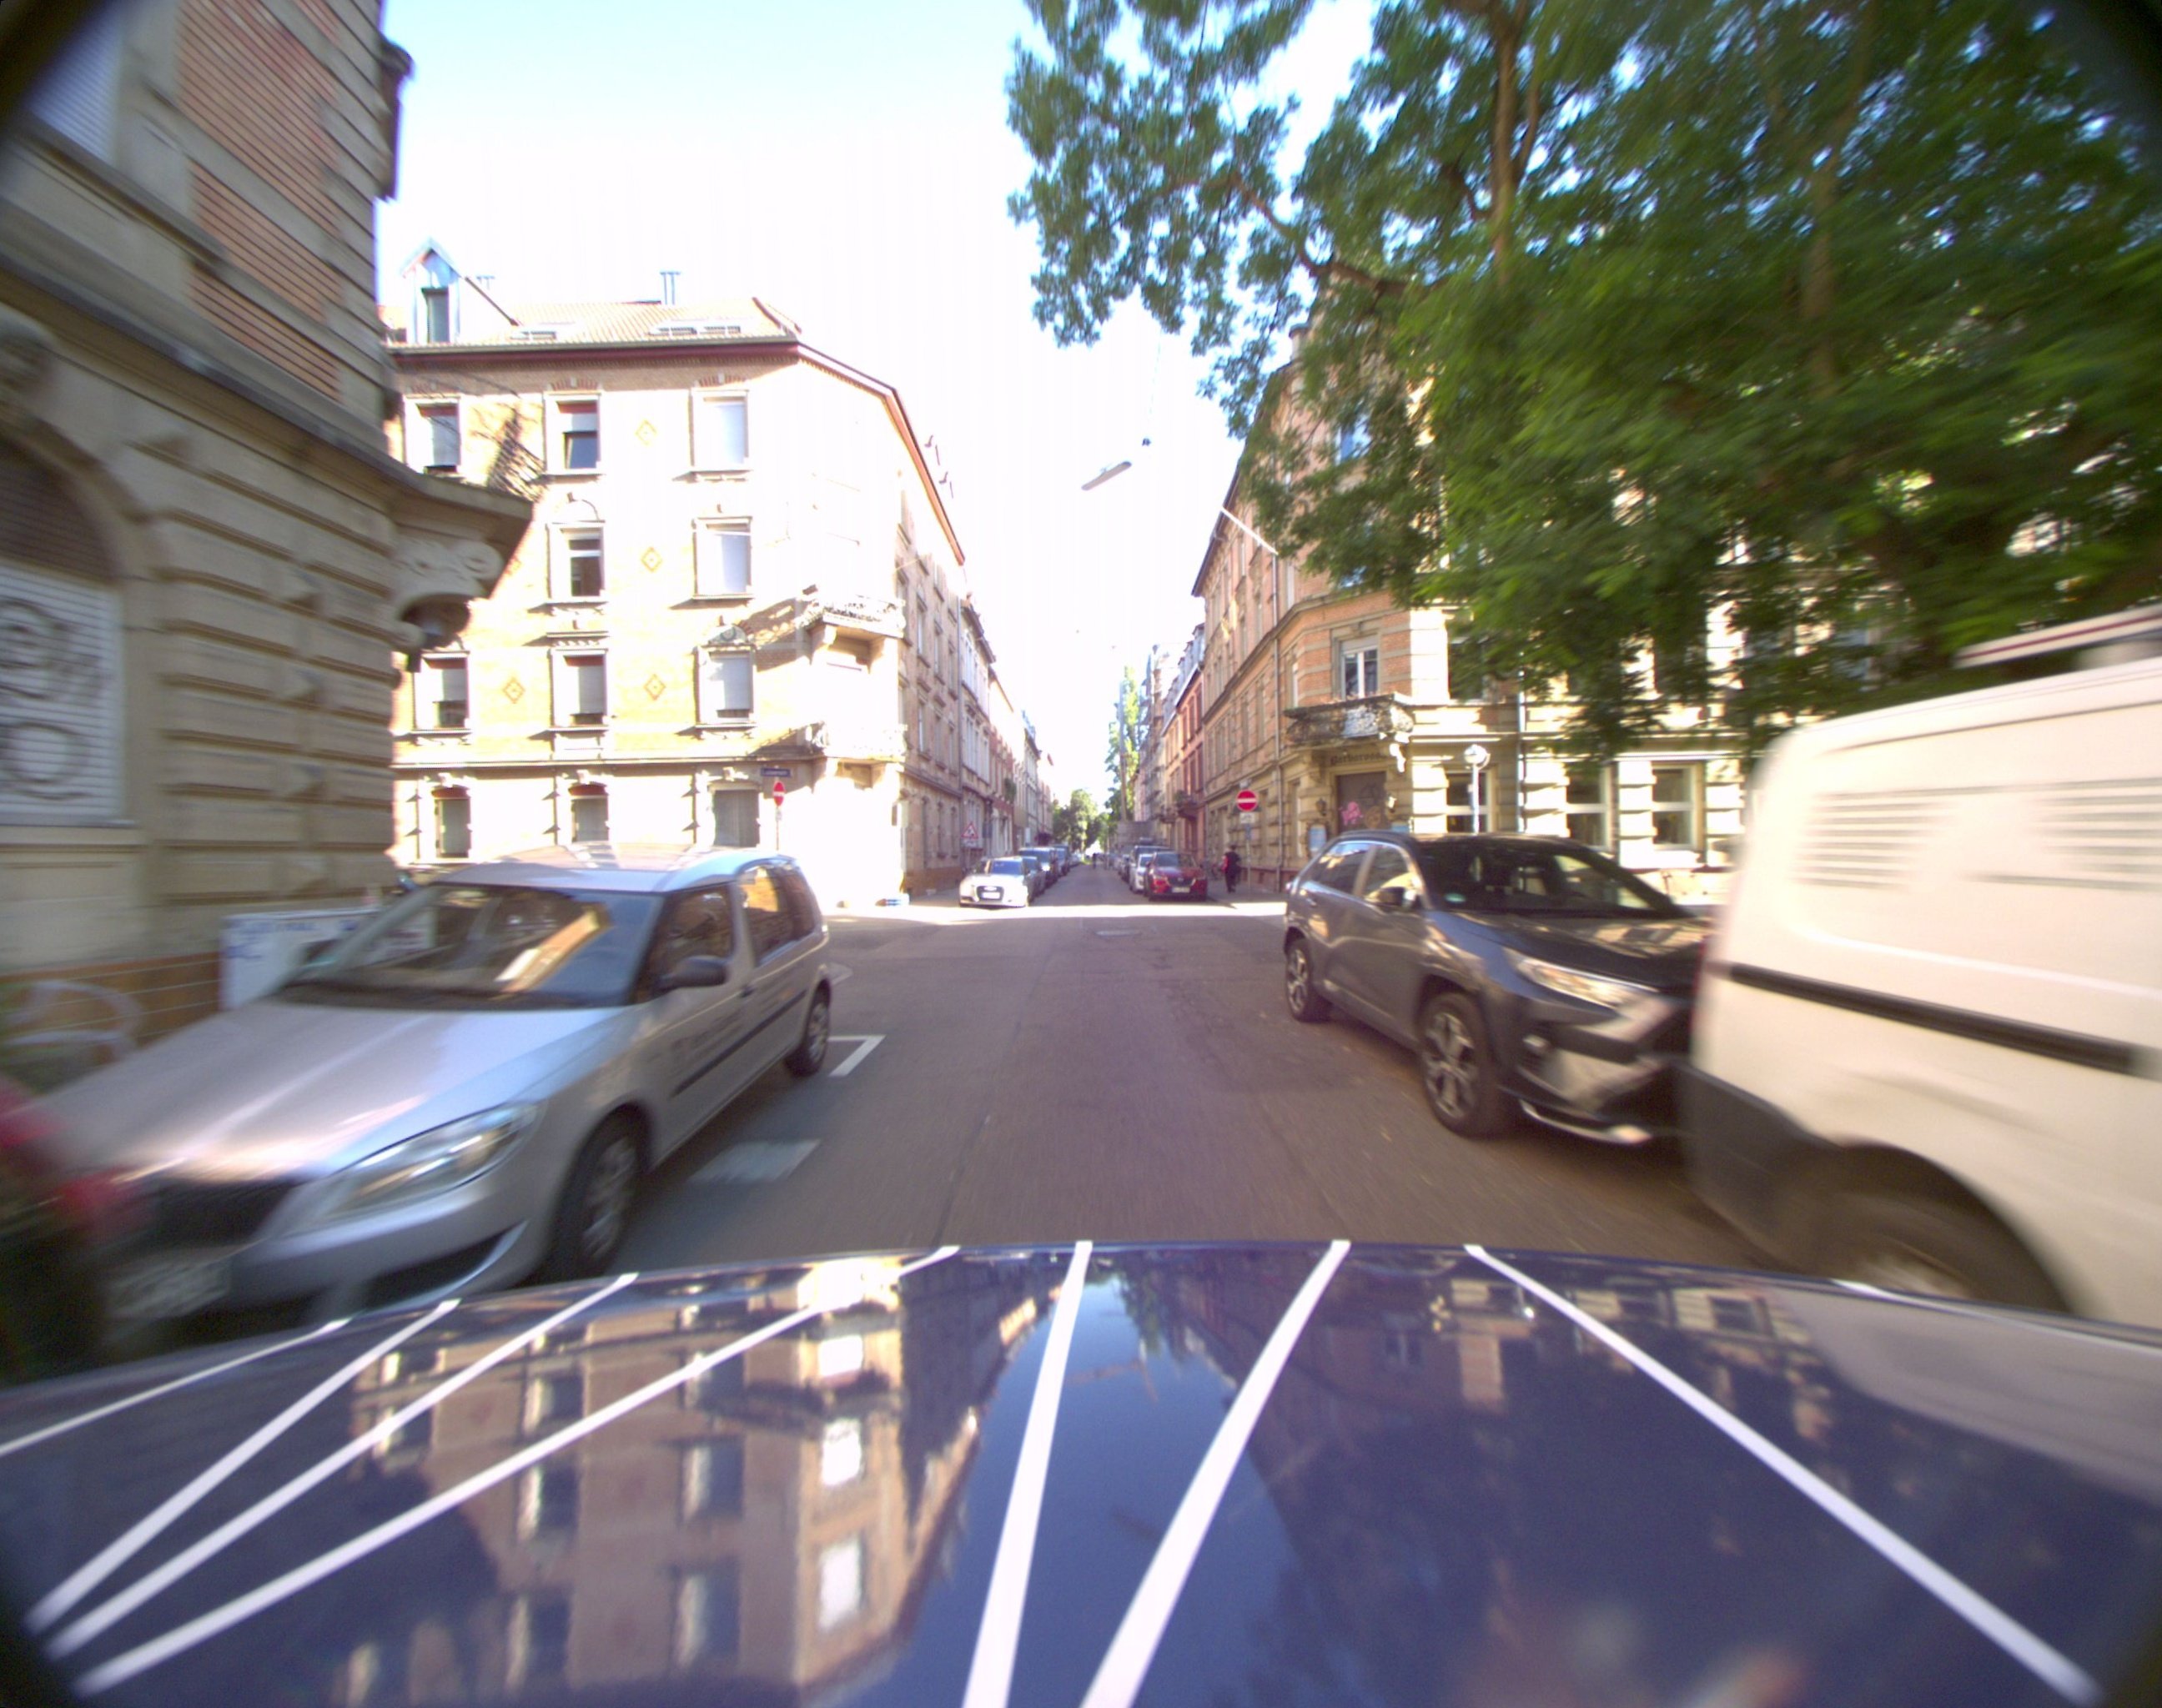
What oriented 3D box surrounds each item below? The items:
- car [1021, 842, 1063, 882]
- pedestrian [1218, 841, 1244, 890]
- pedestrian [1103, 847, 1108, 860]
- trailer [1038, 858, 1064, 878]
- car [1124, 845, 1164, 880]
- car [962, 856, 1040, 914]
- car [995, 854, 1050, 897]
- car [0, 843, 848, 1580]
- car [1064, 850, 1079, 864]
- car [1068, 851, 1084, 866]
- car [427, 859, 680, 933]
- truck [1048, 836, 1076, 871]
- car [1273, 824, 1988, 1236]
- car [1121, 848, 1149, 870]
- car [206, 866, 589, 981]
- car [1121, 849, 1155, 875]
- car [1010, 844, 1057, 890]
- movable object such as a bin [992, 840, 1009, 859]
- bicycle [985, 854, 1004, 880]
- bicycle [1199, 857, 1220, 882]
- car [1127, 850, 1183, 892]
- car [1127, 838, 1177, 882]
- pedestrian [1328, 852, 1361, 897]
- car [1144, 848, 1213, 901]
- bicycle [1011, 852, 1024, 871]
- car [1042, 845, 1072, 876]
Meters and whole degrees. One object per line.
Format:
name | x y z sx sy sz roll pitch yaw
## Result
car | -2.054 0.383 41.520 1.836 2.002 4.741 -3 0 1
pedestrian | 4.942 0.372 25.057 0.668 1.571 0.759 -2 1 0
pedestrian | 3.137 -0.034 98.911 0.594 1.634 0.813 1 1 1
trailer | -1.916 0.897 49.513 1.508 1.106 3.039 -4 0 0
car | 3.205 0.398 39.293 1.792 1.615 4.608 -2 1 2
car | -2.276 0.841 22.777 1.710 1.450 4.511 -2 1 1
car | -2.140 0.760 28.750 1.670 1.470 3.888 -1 0 2
car | -2.583 0.818 3.712 1.708 1.704 3.937 0 0 -1
car | -1.134 0.337 92.152 1.603 1.652 4.060 -3 0 1
car | -0.531 0.498 84.924 1.525 1.525 3.463 5 1 1
car | -11.509 0.885 16.840 4.253 1.462 1.768 -1 1 -5
truck | -1.632 -0.058 64.460 2.154 2.642 6.252 3 0 -1
car | 2.773 0.696 5.214 1.745 1.637 4.288 -1 0 -1
car | 3.666 0.317 52.002 1.678 1.411 3.999 0 1 0
car | -9.652 0.939 10.951 3.990 1.443 1.733 -1 0 2
car | 3.278 0.430 44.282 1.703 1.306 4.000 -4 1 1
car | -2.192 0.559 36.030 1.774 1.949 4.264 -3 1 1
movable object such as a bin | -4.620 -0.239 43.823 0.898 1.055 0.722 2 1 -1
bicycle | -4.556 0.657 40.250 0.728 1.296 1.692 2 1 1
bicycle | 6.101 0.733 36.029 0.668 1.118 1.785 -4 0 2
car | 2.722 0.590 28.692 1.678 1.412 3.874 -3 1 0
car | 3.115 0.250 34.313 1.897 1.774 4.608 -2 1 2
pedestrian | 7.139 0.557 20.572 0.667 1.170 0.749 -2 1 31
car | 3.011 0.582 24.197 1.727 1.472 4.089 -2 1 1
bicycle | -4.382 0.512 52.719 0.670 1.215 1.992 2 1 2
car | -1.654 0.420 54.094 1.849 1.972 4.576 -3 0 1
